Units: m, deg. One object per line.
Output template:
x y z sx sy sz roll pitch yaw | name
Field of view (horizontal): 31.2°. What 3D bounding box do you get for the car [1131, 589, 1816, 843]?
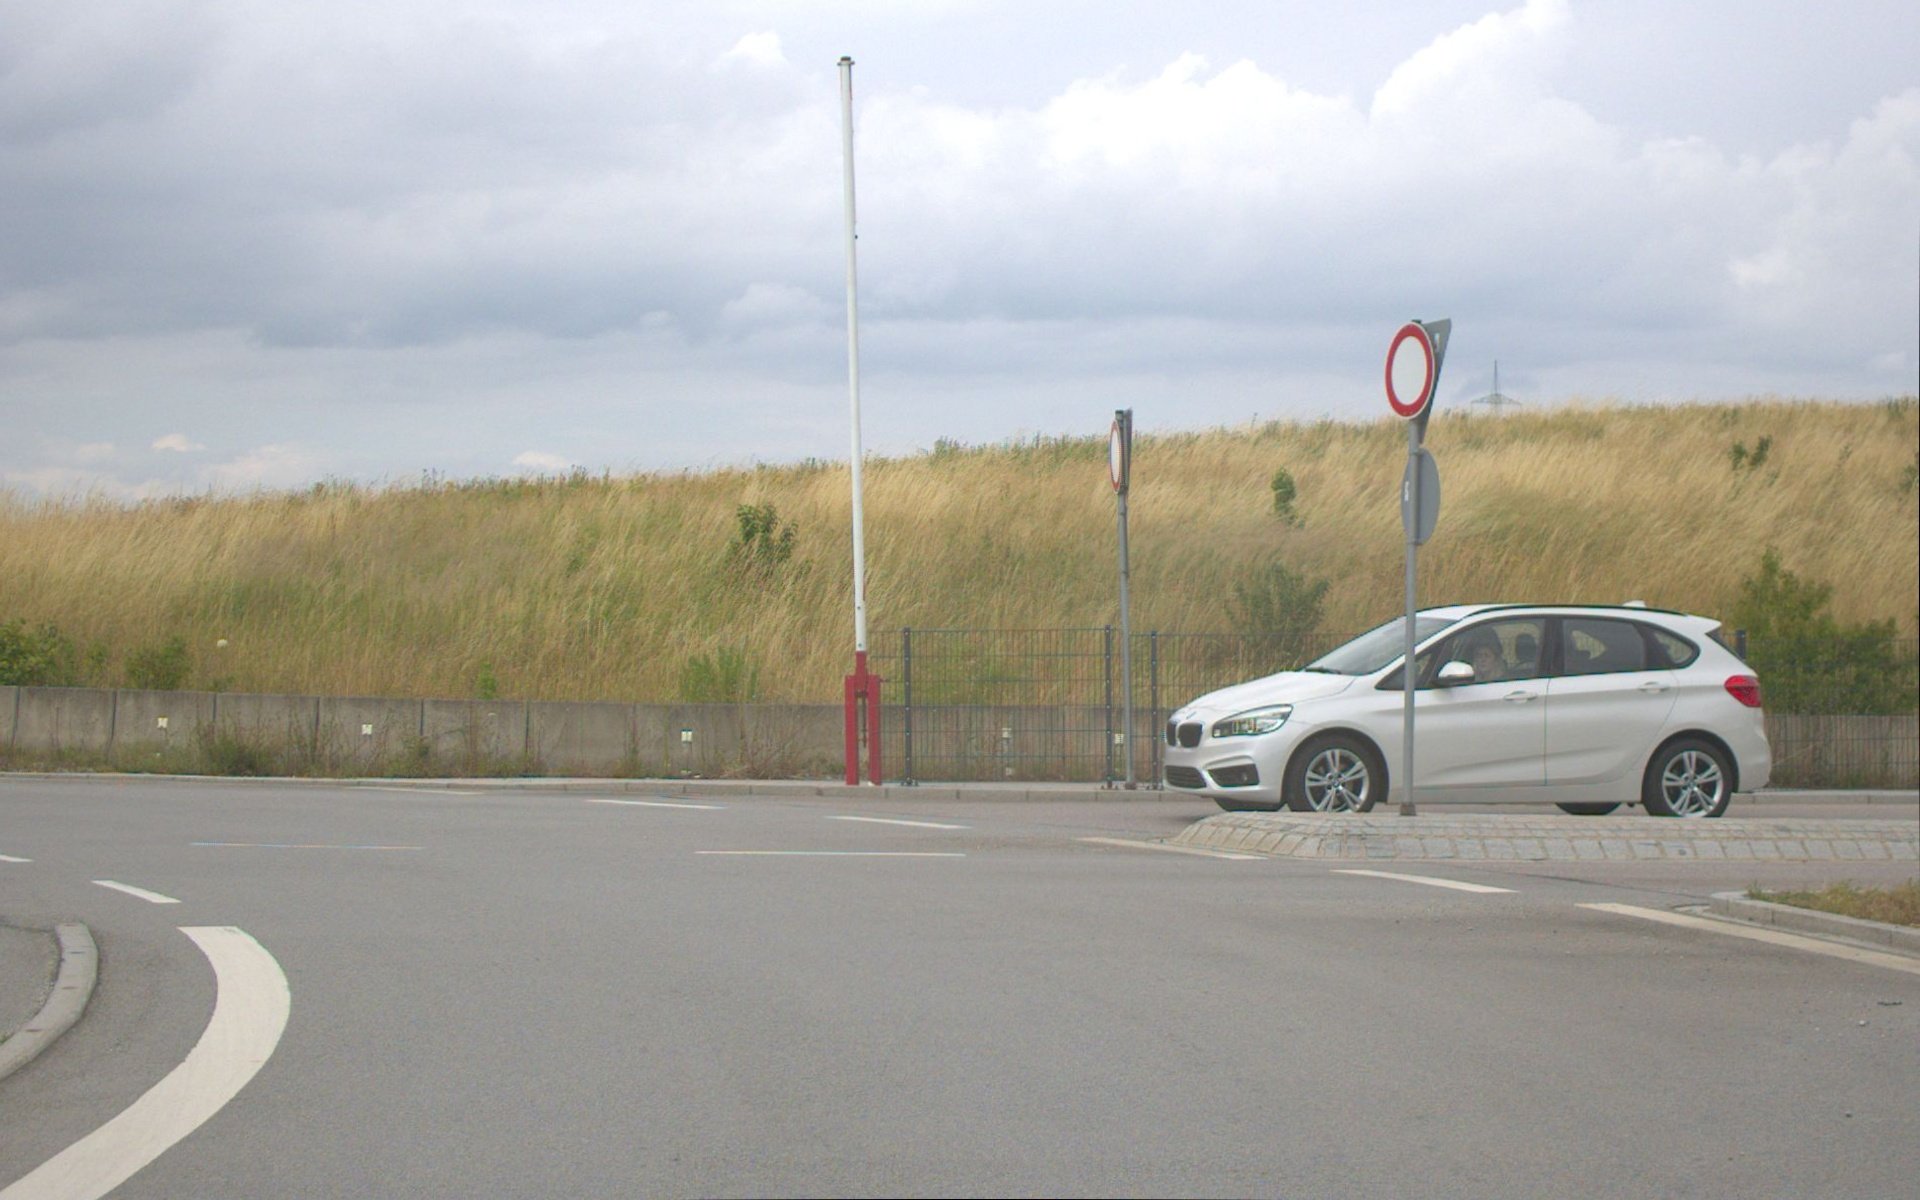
3.612 0.811 24.396 4.411 1.623 1.785 2 1 -15 | car
